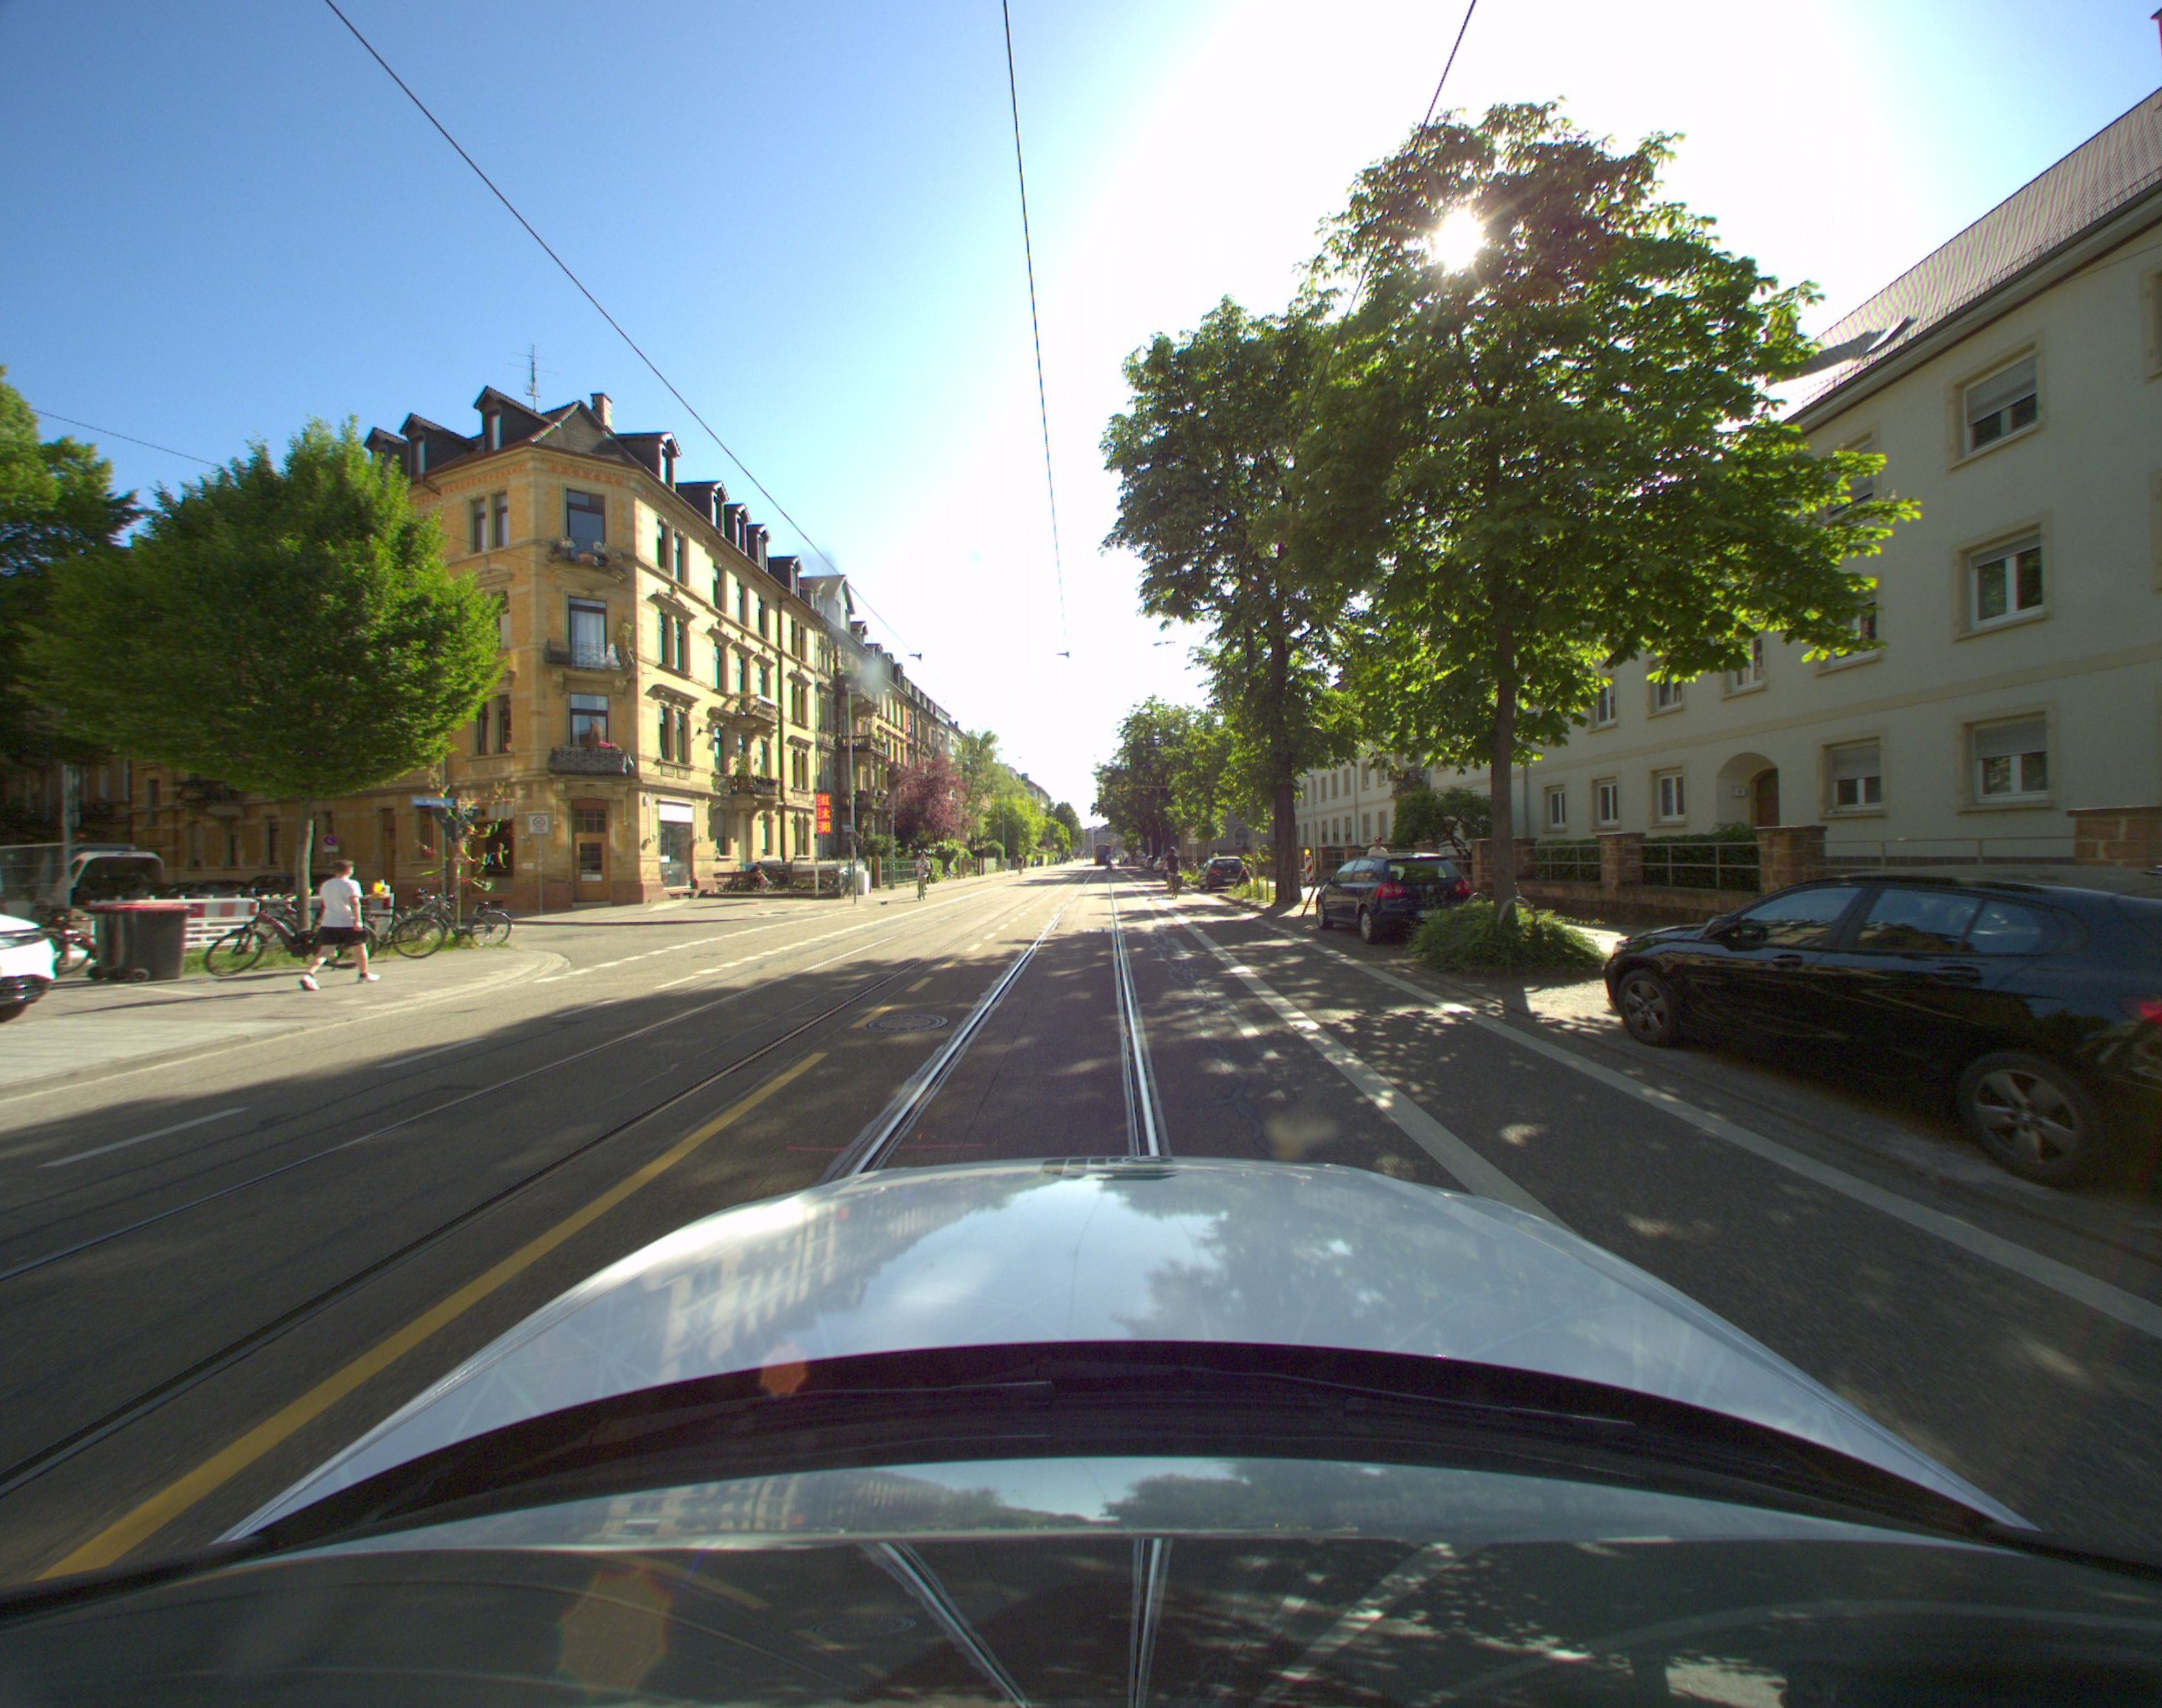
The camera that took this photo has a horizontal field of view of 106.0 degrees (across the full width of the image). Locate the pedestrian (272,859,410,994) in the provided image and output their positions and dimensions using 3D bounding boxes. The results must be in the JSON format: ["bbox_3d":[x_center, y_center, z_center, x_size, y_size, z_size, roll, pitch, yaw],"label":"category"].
[{"bbox_3d":[-9.926,0.941,10.977,0.827,1.724,1.081,0,-1,-3],"label":"pedestrian"}]

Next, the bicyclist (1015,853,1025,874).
[{"bbox_3d":[-5.316,0.811,70.771,0.658,1.801,0.616,-3,-1,1],"label":"bicyclist"}]

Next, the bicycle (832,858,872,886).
[{"bbox_3d":[-10.944,0.875,38.904,1.761,1.320,0.612,0,0,-8],"label":"bicycle"}]

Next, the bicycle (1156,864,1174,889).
[{"bbox_3d":[3.864,1.011,37.426,0.689,1.112,1.918,0,0,2],"label":"bicycle"}]

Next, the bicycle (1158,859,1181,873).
[{"bbox_3d":[7.405,0.996,68.029,1.786,1.019,0.620,-3,0,0],"label":"bicycle"}]

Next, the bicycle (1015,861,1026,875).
[{"bbox_3d":[-5.270,1.219,71.193,0.689,1.112,1.719,-2,0,2],"label":"bicycle"}]

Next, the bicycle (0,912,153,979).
[{"bbox_3d":[-15.183,1.356,12.278,1.549,0.914,0.244,0,-2,-34],"label":"bicycle"}]

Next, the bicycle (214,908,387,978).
[{"bbox_3d":[-11.770,1.321,12.365,1.796,0.914,0.614,0,-2,-34],"label":"bicycle"}]

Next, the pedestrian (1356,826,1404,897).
[{"bbox_3d":[7.813,0.200,21.287,0.602,1.771,0.904,-4,0,-29],"label":"pedestrian"}]

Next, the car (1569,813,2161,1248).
[{"bbox_3d":[5.213,0.701,5.224,1.660,1.761,4.231,-1,0,1],"label":"car"}]

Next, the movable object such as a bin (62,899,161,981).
[{"bbox_3d":[-13.719,1.194,11.540,0.572,1.071,0.719,0,0,15],"label":"movable object such as a bin"}]

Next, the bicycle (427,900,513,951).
[{"bbox_3d":[-11.809,1.367,15.787,1.300,0.914,0.614,0,-2,-34],"label":"bicycle"}]

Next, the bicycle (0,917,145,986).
[{"bbox_3d":[-15.040,1.430,12.037,1.549,0.914,0.244,0,-2,-34],"label":"bicycle"}]

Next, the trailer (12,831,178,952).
[{"bbox_3d":[-23.718,0.909,19.602,2.893,2.695,1.838,-3,-2,25],"label":"trailer"}]

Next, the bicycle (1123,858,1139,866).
[{"bbox_3d":[7.082,1.108,115.788,2.123,1.171,0.806,0,0,16],"label":"bicycle"}]

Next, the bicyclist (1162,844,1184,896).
[{"bbox_3d":[3.353,0.582,29.752,0.725,1.848,0.837,0,0,1],"label":"bicyclist"}]

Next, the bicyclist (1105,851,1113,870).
[{"bbox_3d":[2.612,0.628,75.996,0.643,1.796,0.956,0,0,1],"label":"bicyclist"}]

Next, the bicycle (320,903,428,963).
[{"bbox_3d":[-11.909,1.310,13.769,1.300,0.914,0.614,0,-2,-34],"label":"bicycle"}]

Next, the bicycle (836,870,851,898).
[{"bbox_3d":[-9.671,1.224,33.194,0.369,1.126,0.809,0,0,2],"label":"bicycle"}]

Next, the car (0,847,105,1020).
[{"bbox_3d":[-12.443,0.739,7.618,4.426,1.643,1.969,0,-1,4],"label":"car"}]

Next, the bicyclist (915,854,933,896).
[{"bbox_3d":[-6.175,0.825,32.013,0.462,1.618,0.745,-3,0,2],"label":"bicyclist"}]

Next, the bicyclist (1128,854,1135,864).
[{"bbox_3d":[7.178,0.715,115.682,0.766,1.291,0.736,0,0,18],"label":"bicyclist"}]

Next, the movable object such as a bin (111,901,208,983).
[{"bbox_3d":[-13.054,1.223,11.551,0.572,1.071,0.719,0,0,15],"label":"movable object such as a bin"}]

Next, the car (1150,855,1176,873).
[{"bbox_3d":[7.150,0.839,71.099,1.624,1.436,4.662,-2,0,-1],"label":"car"}]

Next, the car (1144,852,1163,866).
[{"bbox_3d":[7.955,0.579,89.428,1.742,1.420,4.001,-2,0,1],"label":"car"}]

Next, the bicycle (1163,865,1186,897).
[{"bbox_3d":[3.435,0.980,29.971,0.689,1.112,1.719,0,0,2],"label":"bicycle"}]

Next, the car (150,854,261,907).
[{"bbox_3d":[-32.272,0.979,30.019,3.494,1.728,1.609,-3,0,23],"label":"car"}]

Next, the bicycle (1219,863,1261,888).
[{"bbox_3d":[7.488,1.005,38.355,1.789,1.067,0.620,-3,0,-4],"label":"bicycle"}]

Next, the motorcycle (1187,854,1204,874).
[{"bbox_3d":[7.016,0.596,50.041,0.494,1.190,1.858,-5,0,-6],"label":"motorcycle"}]

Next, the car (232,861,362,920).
[{"bbox_3d":[-26.406,1.173,27.442,3.547,1.749,1.850,0,3,24],"label":"car"}]

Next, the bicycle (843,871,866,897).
[{"bbox_3d":[-9.423,1.238,33.921,0.334,1.001,1.870,0,0,2],"label":"bicycle"}]

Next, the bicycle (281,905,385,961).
[{"bbox_3d":[-13.460,1.403,14.680,0.613,0.914,1.303,-2,-2,40],"label":"bicycle"}]

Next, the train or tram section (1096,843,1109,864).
[{"bbox_3d":[3.621,-0.066,137.533,2.145,3.432,6.613,0,0,1],"label":"train or tram section"}]

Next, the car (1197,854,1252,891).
[{"bbox_3d":[6.204,0.764,35.636,1.780,1.464,4.046,-2,0,1],"label":"car"}]

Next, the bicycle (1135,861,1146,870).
[{"bbox_3d":[6.920,1.361,94.886,1.262,1.024,0.706,0,-2,9],"label":"bicycle"}]

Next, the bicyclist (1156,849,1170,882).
[{"bbox_3d":[3.777,0.523,37.573,0.633,1.468,0.616,0,0,1],"label":"bicyclist"}]

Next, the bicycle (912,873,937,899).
[{"bbox_3d":[-6.145,1.248,32.065,0.458,0.926,2.203,-2,0,2],"label":"bicycle"}]

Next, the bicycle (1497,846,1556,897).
[{"bbox_3d":[11.255,0.420,20.645,0.541,1.220,1.742,-2,0,2],"label":"bicycle"}]

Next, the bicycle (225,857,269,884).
[{"bbox_3d":[-35.441,0.714,34.596,2.107,1.126,0.559,-1,-1,23],"label":"bicycle"}]

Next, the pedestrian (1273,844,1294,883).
[{"bbox_3d":[8.966,0.413,36.008,0.755,1.724,0.583,0,0,31],"label":"pedestrian"}]

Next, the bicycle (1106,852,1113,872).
[{"bbox_3d":[2.678,0.734,76.331,0.660,1.859,2.261,0,0,3],"label":"bicycle"}]

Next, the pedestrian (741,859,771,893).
[{"bbox_3d":[-13.390,0.909,33.565,0.897,1.352,0.577,-3,-1,3],"label":"pedestrian"}]

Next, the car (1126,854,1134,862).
[{"bbox_3d":[10.365,0.867,172.500,1.748,1.552,3.678,0,0,1],"label":"car"}]

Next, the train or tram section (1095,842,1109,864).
[{"bbox_3d":[3.440,-0.083,130.888,2.145,3.432,6.613,0,0,1],"label":"train or tram section"}]

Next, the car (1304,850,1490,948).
[{"bbox_3d":[5.515,0.700,14.831,1.714,1.473,4.246,-2,0,0],"label":"car"}]
